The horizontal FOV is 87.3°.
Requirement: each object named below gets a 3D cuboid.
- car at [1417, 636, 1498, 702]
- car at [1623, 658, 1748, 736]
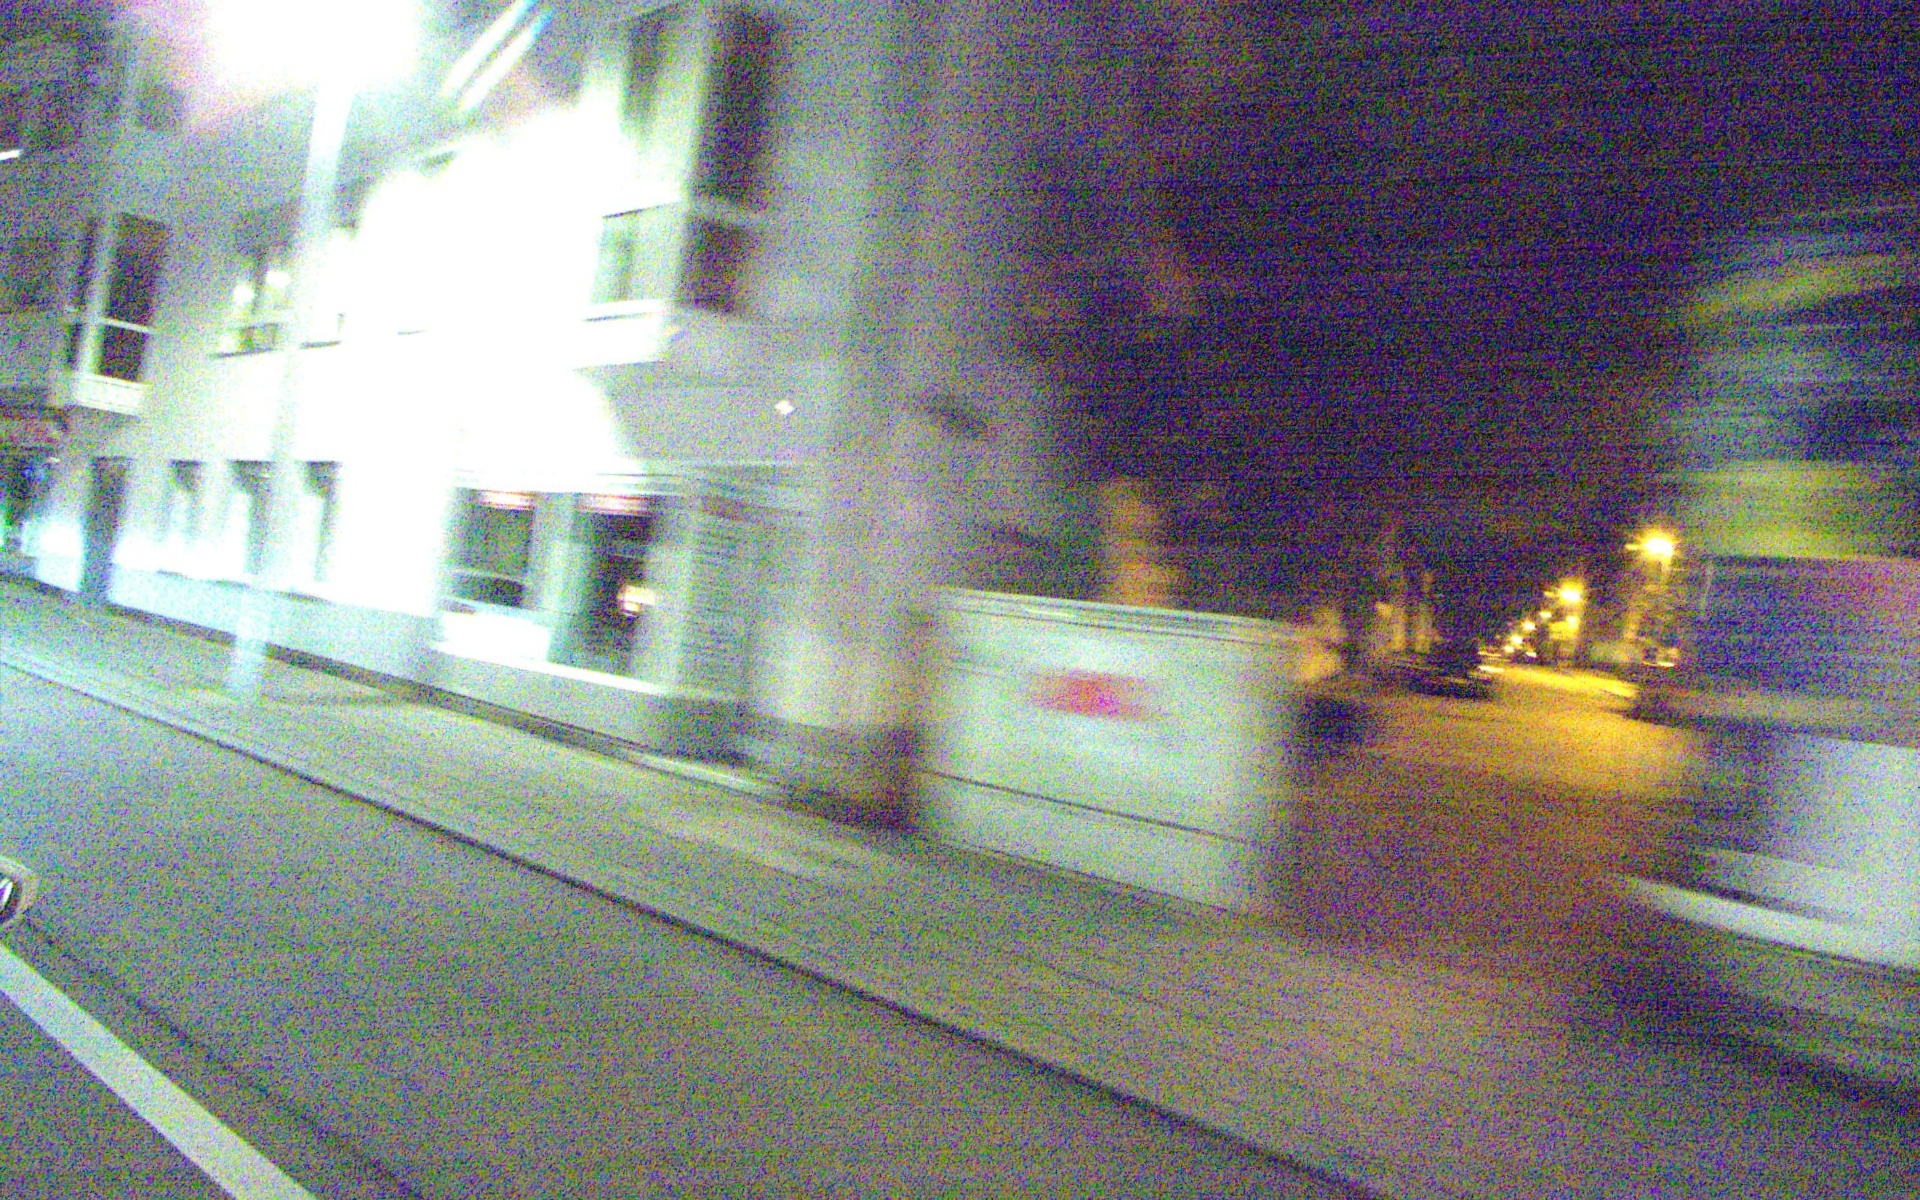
[{"bbox_3d":[13.475,1.797,27.232,1.698,1.454,3.803,6,1,27],"label":"car"},{"bbox_3d":[17.291,2.248,24.171,1.698,1.418,4.099,6,1,27],"label":"car"}]
